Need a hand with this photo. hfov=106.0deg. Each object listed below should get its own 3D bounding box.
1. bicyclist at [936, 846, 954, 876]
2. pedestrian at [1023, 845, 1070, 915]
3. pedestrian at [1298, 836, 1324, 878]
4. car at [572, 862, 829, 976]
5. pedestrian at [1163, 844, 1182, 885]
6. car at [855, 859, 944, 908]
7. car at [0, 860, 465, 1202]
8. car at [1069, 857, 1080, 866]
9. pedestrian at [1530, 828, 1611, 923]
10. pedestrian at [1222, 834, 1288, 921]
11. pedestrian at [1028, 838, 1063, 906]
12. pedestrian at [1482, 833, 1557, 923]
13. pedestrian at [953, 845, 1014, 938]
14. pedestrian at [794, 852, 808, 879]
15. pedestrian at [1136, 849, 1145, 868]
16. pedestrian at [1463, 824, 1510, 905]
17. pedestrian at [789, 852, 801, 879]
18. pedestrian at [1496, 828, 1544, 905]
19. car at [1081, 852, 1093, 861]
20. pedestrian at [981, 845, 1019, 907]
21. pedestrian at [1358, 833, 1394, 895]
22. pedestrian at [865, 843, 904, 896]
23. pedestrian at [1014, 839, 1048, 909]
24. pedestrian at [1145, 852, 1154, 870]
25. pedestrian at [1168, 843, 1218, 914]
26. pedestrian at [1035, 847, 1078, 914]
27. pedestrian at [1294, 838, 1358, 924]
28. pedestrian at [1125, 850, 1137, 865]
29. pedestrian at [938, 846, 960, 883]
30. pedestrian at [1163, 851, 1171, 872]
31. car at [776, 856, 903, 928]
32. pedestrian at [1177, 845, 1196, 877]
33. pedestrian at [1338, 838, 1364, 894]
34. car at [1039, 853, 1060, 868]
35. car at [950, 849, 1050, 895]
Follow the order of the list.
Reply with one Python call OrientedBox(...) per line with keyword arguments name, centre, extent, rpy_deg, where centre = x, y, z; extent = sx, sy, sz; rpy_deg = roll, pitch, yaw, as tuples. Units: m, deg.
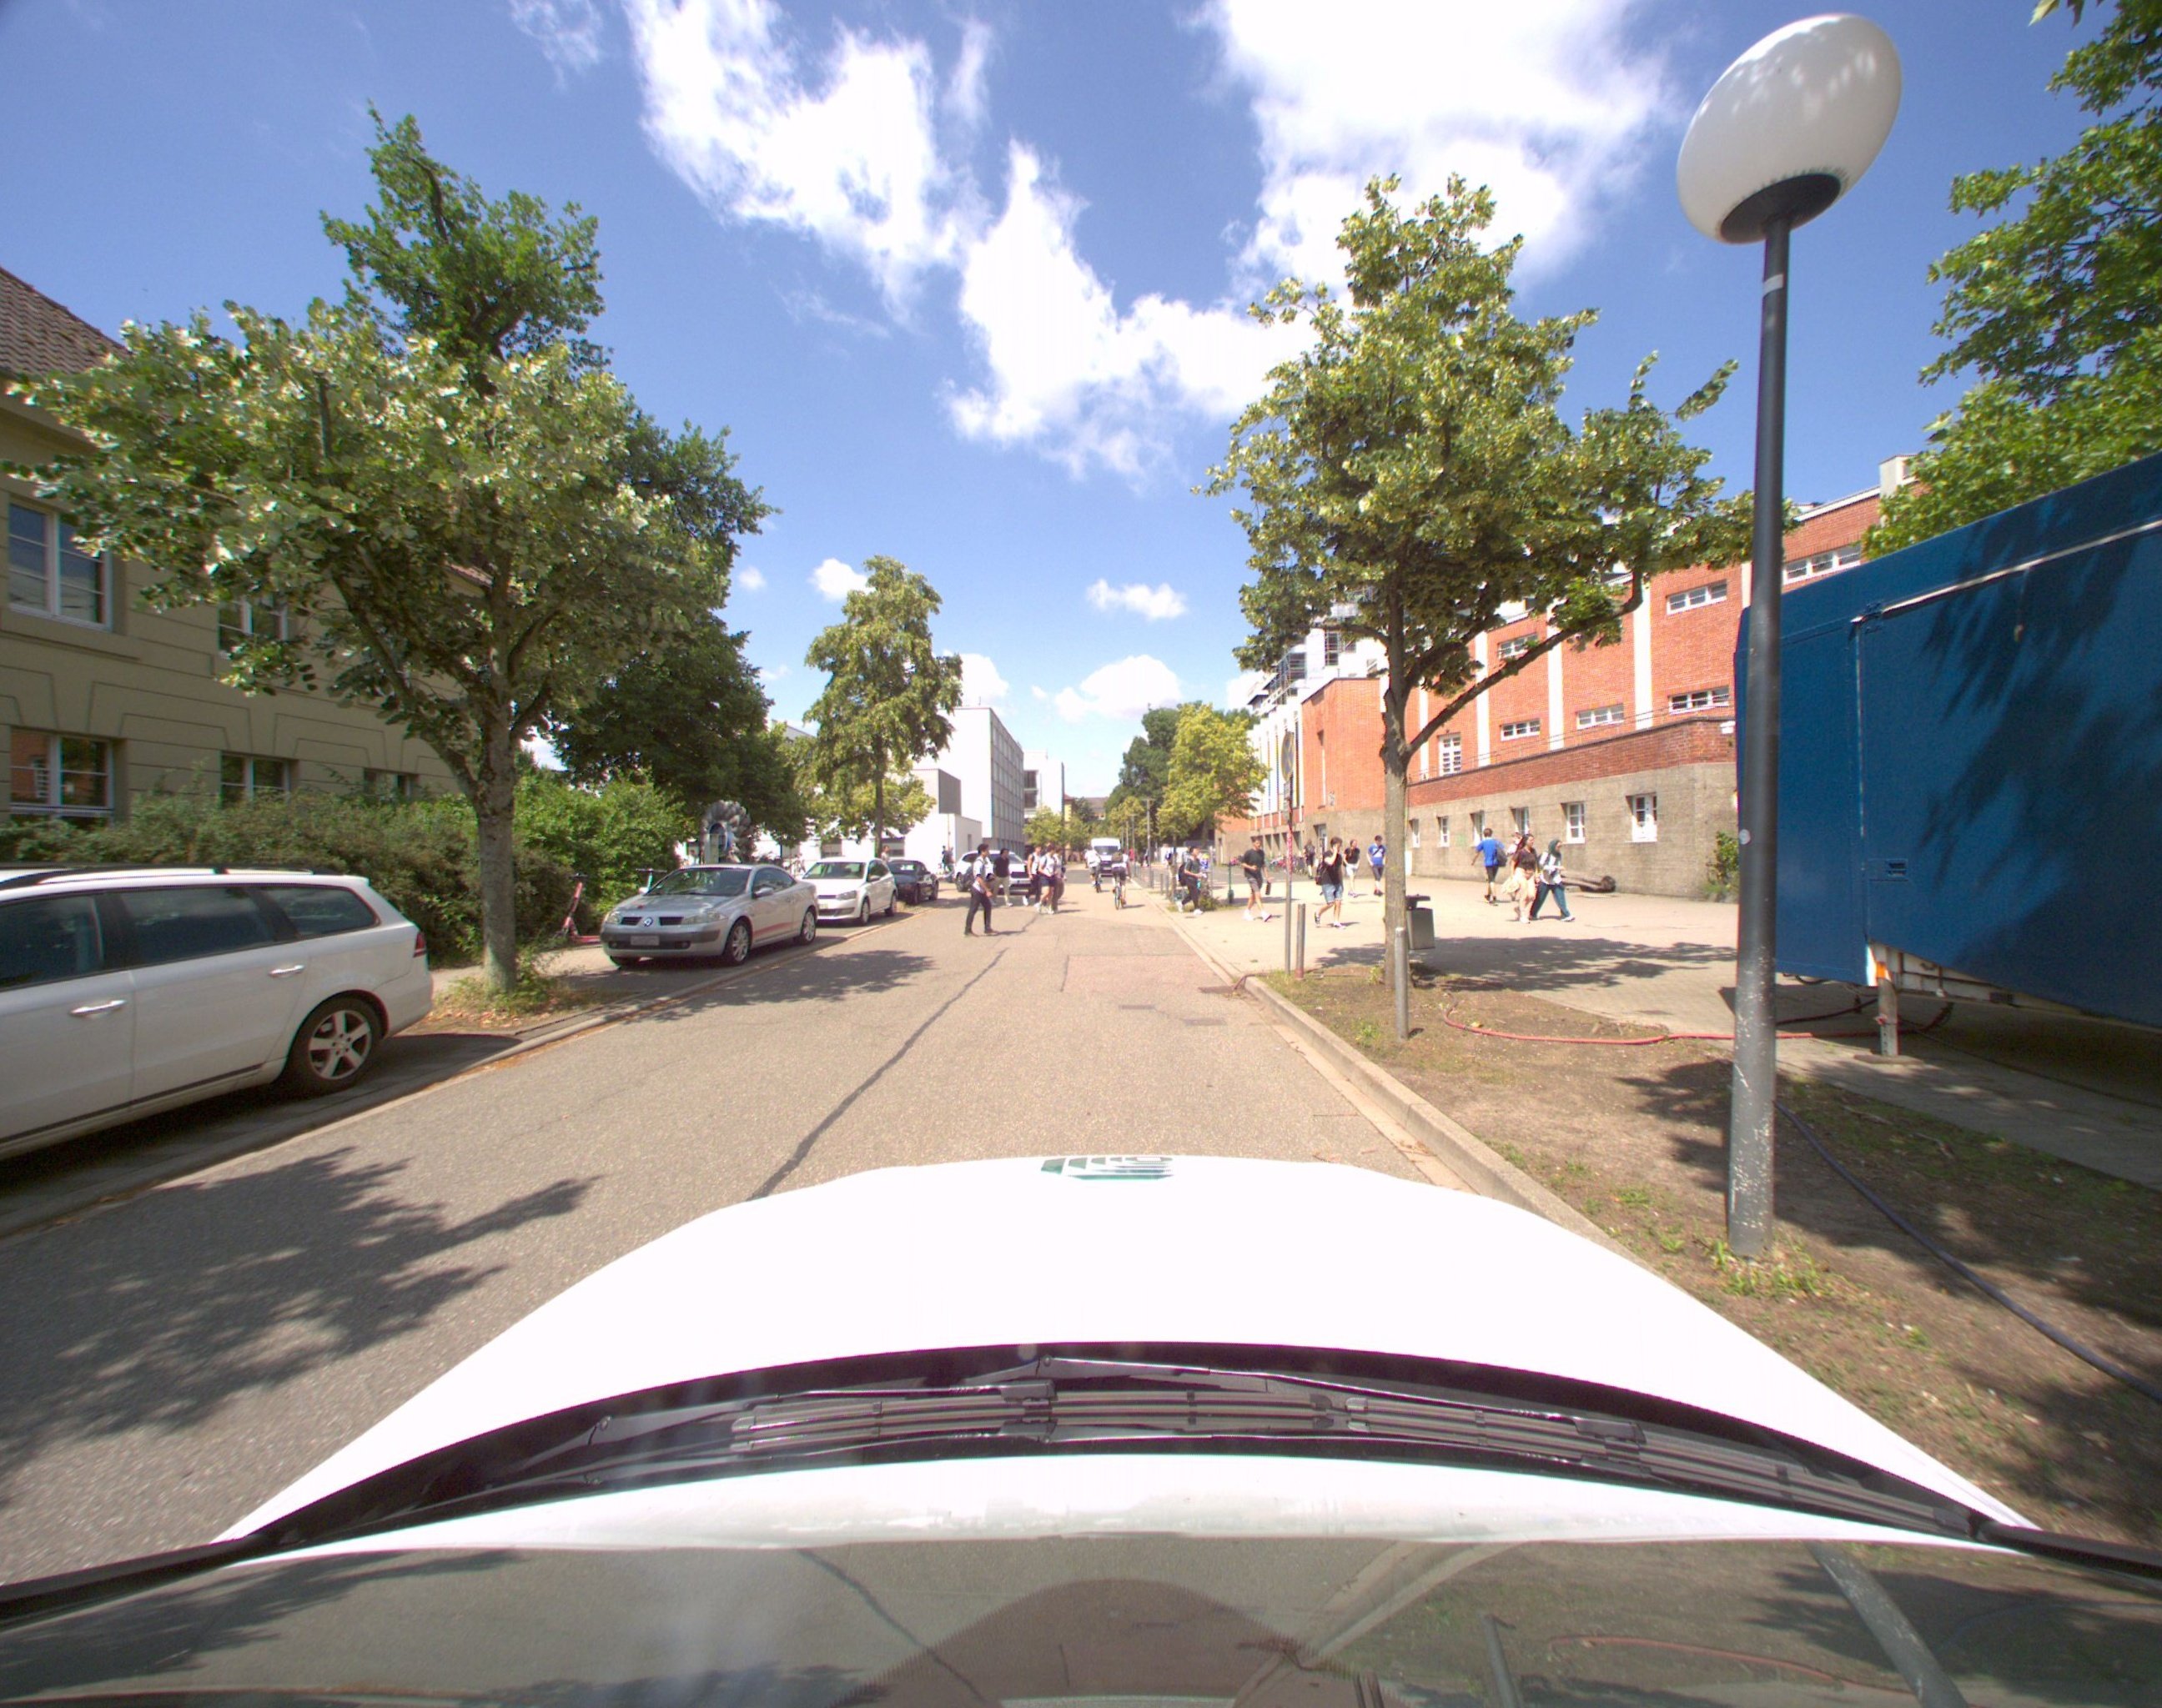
OrientedBox(name="bicyclist", centre=(-8.058, 0.399, 48.217), extent=(0.684, 1.756, 0.816), rpy_deg=(-1, -1, 43))
OrientedBox(name="pedestrian", centre=(-0.896, 0.645, 20.951), extent=(0.971, 1.739, 0.705), rpy_deg=(0, 0, 37))
OrientedBox(name="pedestrian", centre=(10.414, 0.142, 36.889), extent=(0.787, 1.860, 1.116), rpy_deg=(-1, 0, 0))
OrientedBox(name="car", centre=(-5.378, 0.829, 12.214), extent=(1.718, 1.343, 4.168), rpy_deg=(1, 0, 3))
OrientedBox(name="pedestrian", centre=(3.962, 0.449, 35.205), extent=(0.700, 1.694, 0.962), rpy_deg=(-2, 2, 2))
OrientedBox(name="car", centre=(-5.390, 0.834, 24.642), extent=(1.638, 1.300, 3.930), rpy_deg=(-2, 0, 2))
OrientedBox(name="car", centre=(-5.578, 0.781, 3.927), extent=(1.720, 1.456, 4.582), rpy_deg=(1, 0, -1))
OrientedBox(name="car", centre=(-1.223, 1.424, 156.489), extent=(1.787, 1.530, 4.006), rpy_deg=(-2, 0, 5))
OrientedBox(name="pedestrian", centre=(9.243, 0.384, 15.426), extent=(0.873, 1.637, 0.949), rpy_deg=(-5, 3, 0))
OrientedBox(name="pedestrian", centre=(3.885, 0.512, 18.255), extent=(0.858, 1.860, 1.104), rpy_deg=(-1, -1, -37))
OrientedBox(name="pedestrian", centre=(-1.056, 0.520, 24.371), extent=(0.819, 1.980, 0.695), rpy_deg=(0, 1, 23))
OrientedBox(name="pedestrian", centre=(8.337, 0.442, 15.517), extent=(0.872, 1.638, 0.949), rpy_deg=(-2, 0, 1))
OrientedBox(name="pedestrian", centre=(-1.836, 0.686, 15.466), extent=(1.103, 1.716, 0.709), rpy_deg=(0, 0, -5))
OrientedBox(name="pedestrian", centre=(-18.438, 0.764, 53.610), extent=(0.690, 1.749, 0.636), rpy_deg=(0, -1, 1))
OrientedBox(name="pedestrian", centre=(6.087, 0.453, 83.594), extent=(0.787, 1.860, 1.244), rpy_deg=(-1, 0, 2))
OrientedBox(name="pedestrian", centre=(9.888, 0.248, 19.902), extent=(0.697, 1.891, 0.997), rpy_deg=(-3, 1, 11))
OrientedBox(name="pedestrian", centre=(-18.547, 0.758, 52.797), extent=(0.549, 1.764, 0.586), rpy_deg=(0, -1, 1))
OrientedBox(name="pedestrian", centre=(10.718, 0.286, 19.917), extent=(0.697, 1.803, 0.996), rpy_deg=(-3, 0, 9))
OrientedBox(name="car", centre=(1.144, 0.491, 155.949), extent=(1.787, 1.530, 4.006), rpy_deg=(-2, 0, 5))
OrientedBox(name="pedestrian", centre=(-2.373, 0.630, 23.912), extent=(0.794, 1.772, 0.859), rpy_deg=(0, 1, 23))
OrientedBox(name="pedestrian", centre=(8.872, 0.282, 24.492), extent=(0.707, 1.787, 0.751), rpy_deg=(-2, 2, -8))
OrientedBox(name="pedestrian", centre=(-7.375, 0.585, 30.596), extent=(1.022, 1.904, 1.166), rpy_deg=(3, -3, -35))
OrientedBox(name="pedestrian", centre=(-1.443, 0.568, 23.592), extent=(0.620, 1.980, 0.821), rpy_deg=(-1, -2, -30))
OrientedBox(name="pedestrian", centre=(6.991, 0.694, 83.092), extent=(0.787, 1.860, 1.026), rpy_deg=(-1, 0, 2))
OrientedBox(name="pedestrian", centre=(2.841, 0.617, 20.690), extent=(0.707, 1.719, 0.982), rpy_deg=(-3, 0, -41))
OrientedBox(name="pedestrian", centre=(-0.649, 0.679, 21.677), extent=(0.897, 1.739, 0.683), rpy_deg=(-1, 0, 39))
OrientedBox(name="pedestrian", centre=(4.775, 0.513, 15.883), extent=(0.855, 1.595, 0.820), rpy_deg=(-3, 0, -42))
OrientedBox(name="pedestrian", centre=(7.282, 0.539, 119.151), extent=(1.495, 1.996, 1.646), rpy_deg=(-4, 1, -1))
OrientedBox(name="pedestrian", centre=(-6.537, 0.523, 40.399), extent=(0.979, 1.785, 0.668), rpy_deg=(-1, -1, -3))
OrientedBox(name="pedestrian", centre=(7.668, 0.674, 72.887), extent=(0.574, 1.860, 0.569), rpy_deg=(-1, 0, -1))
OrientedBox(name="car", centre=(-5.276, 0.769, 18.293), extent=(1.656, 1.412, 3.808), rpy_deg=(0, 0, 1))
OrientedBox(name="pedestrian", centre=(5.841, 0.395, 45.076), extent=(0.851, 1.732, 1.159), rpy_deg=(-1, 0, -3))
OrientedBox(name="pedestrian", centre=(8.037, 0.344, 24.285), extent=(0.501, 1.630, 0.570), rpy_deg=(-2, 2, -8))
OrientedBox(name="car", centre=(-3.436, 0.699, 90.037), extent=(1.787, 1.530, 4.006), rpy_deg=(-2, 0, 5))
OrientedBox(name="car", centre=(-3.151, 0.650, 30.901), extent=(1.931, 1.619, 4.474), rpy_deg=(2, -1, -33))
